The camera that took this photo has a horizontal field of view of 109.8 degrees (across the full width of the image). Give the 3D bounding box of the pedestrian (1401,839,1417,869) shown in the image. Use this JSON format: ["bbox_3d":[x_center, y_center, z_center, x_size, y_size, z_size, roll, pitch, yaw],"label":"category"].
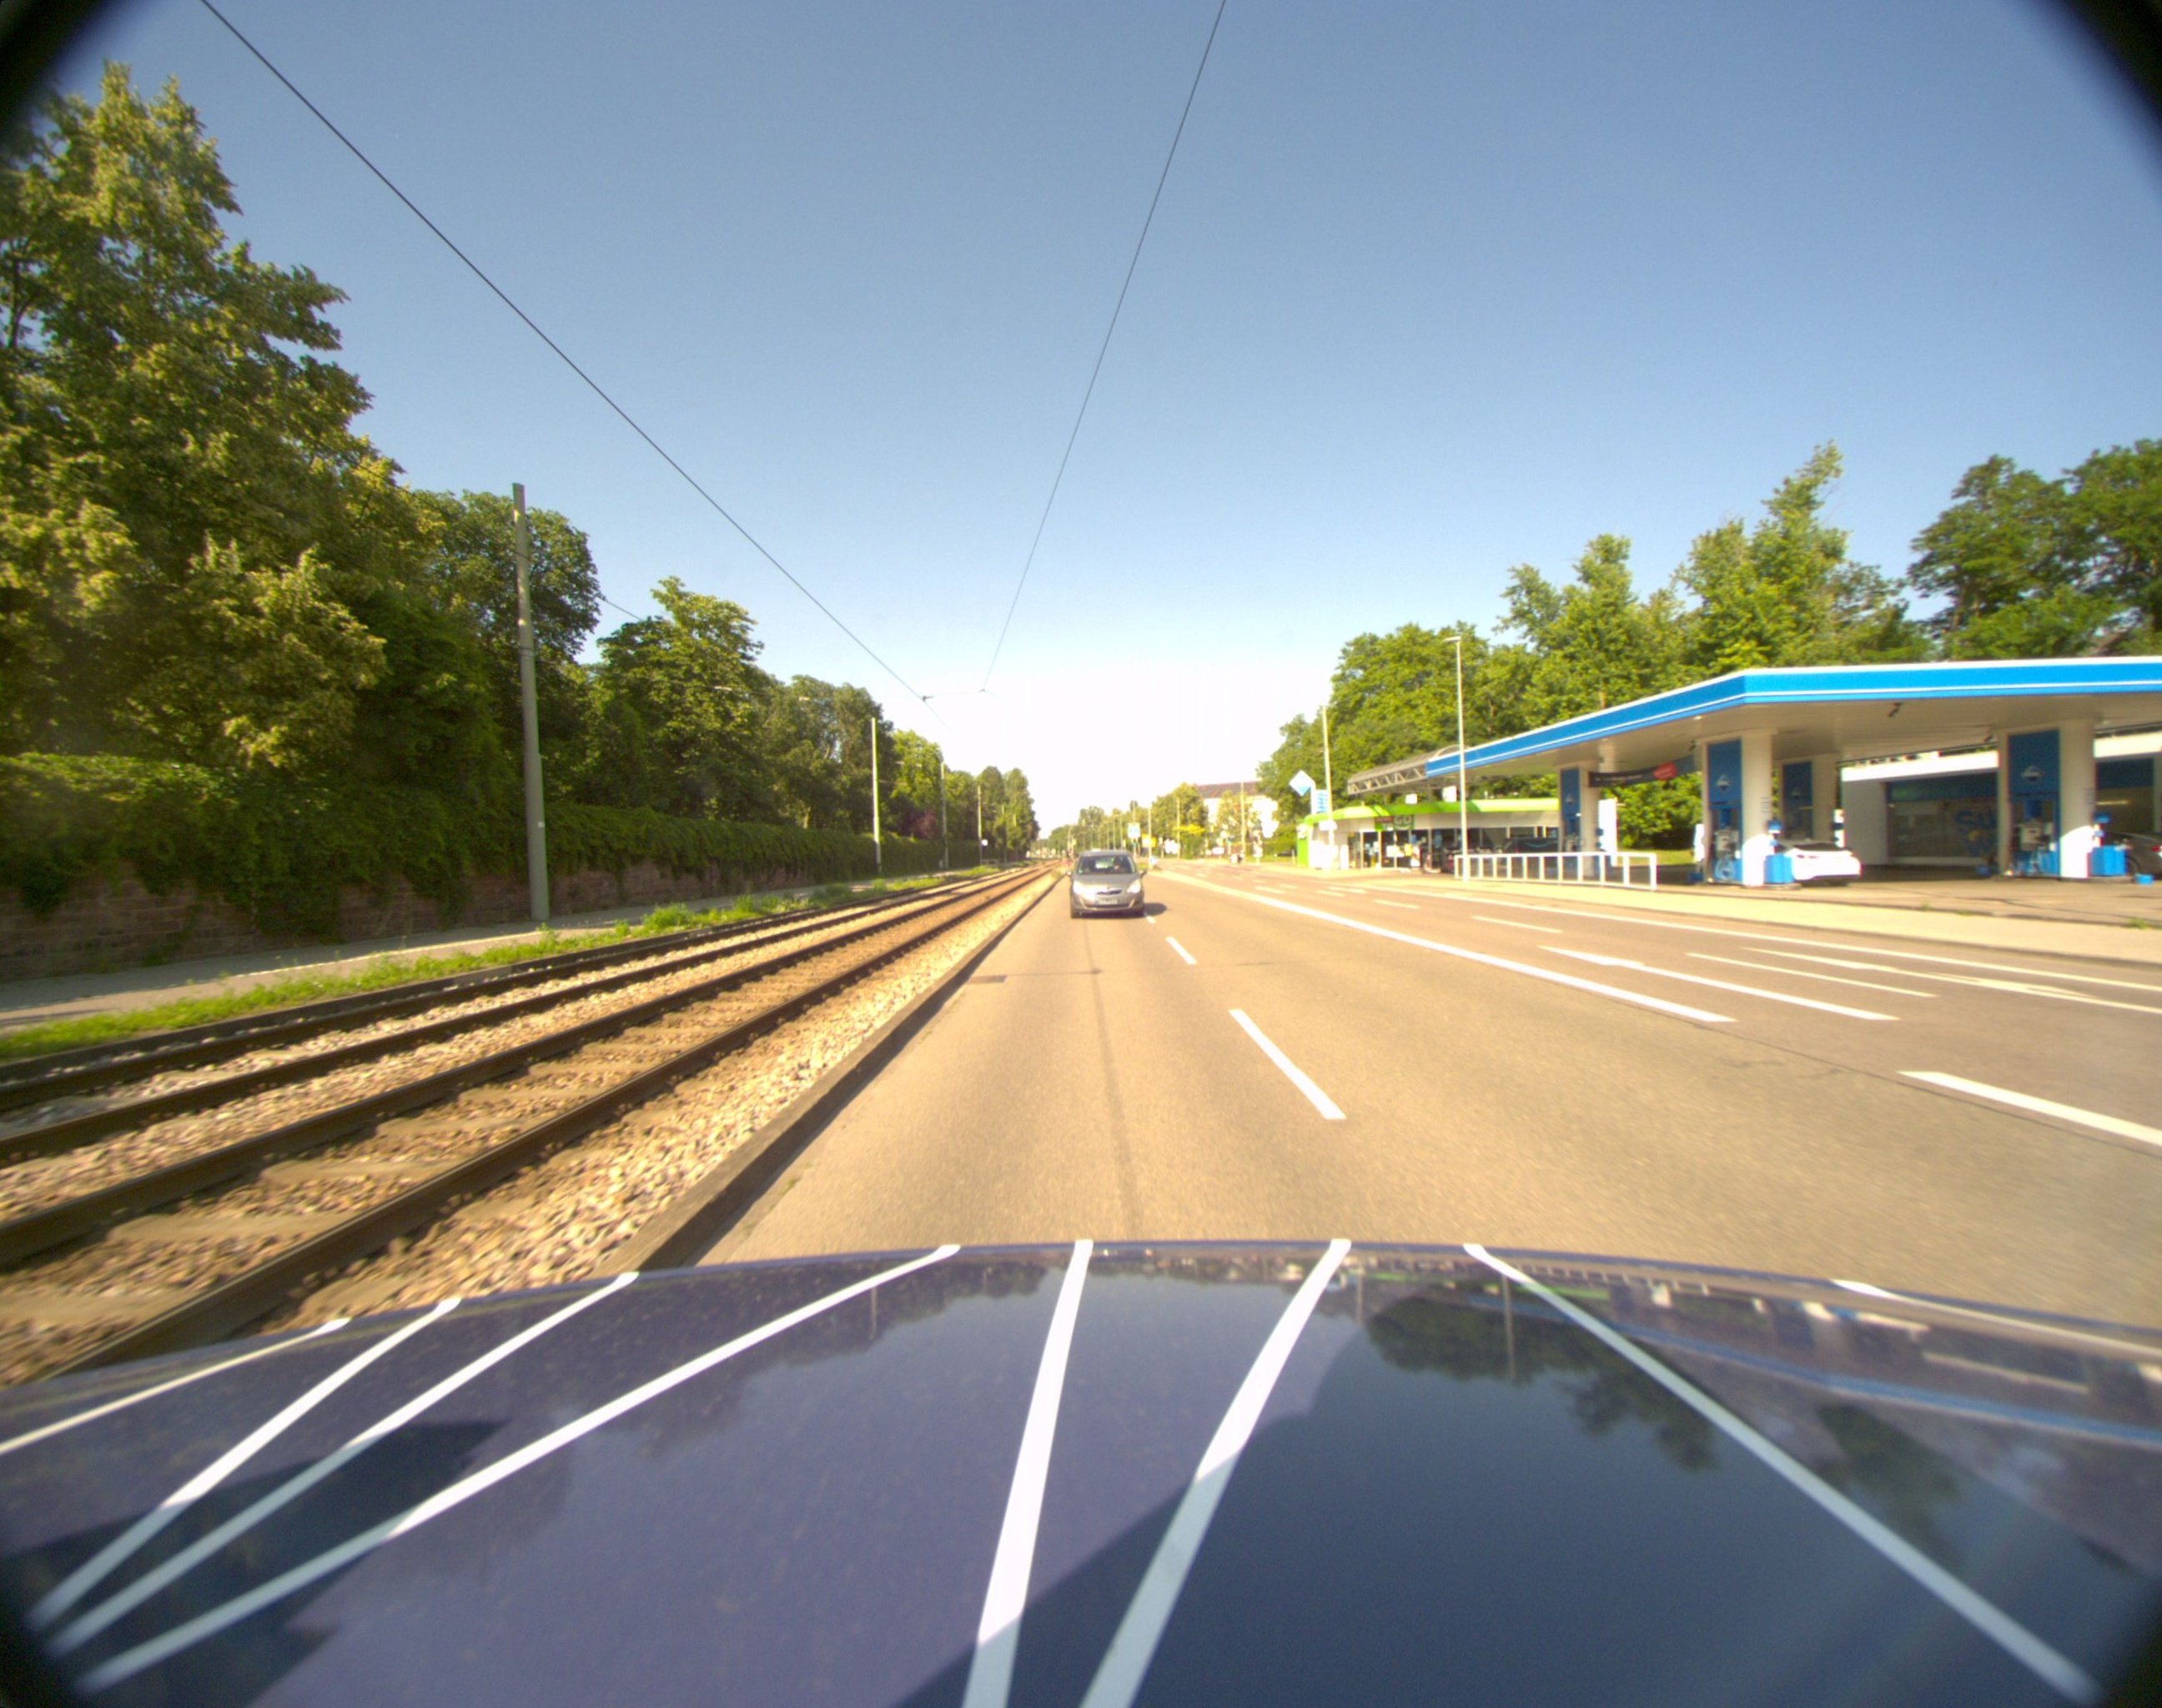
[{"bbox_3d":[19.096,0.019,44.253,0.605,1.721,0.662,-1,1,-11],"label":"pedestrian"}]

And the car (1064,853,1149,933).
[{"bbox_3d":[0.544,0.796,17.386,1.730,1.574,3.763,-1,1,1],"label":"car"}]

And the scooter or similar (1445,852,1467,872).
[{"bbox_3d":[20.767,0.439,42.098,1.031,1.103,0.350,-1,1,8],"label":"scooter or similar"}]

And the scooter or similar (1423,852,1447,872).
[{"bbox_3d":[19.649,0.452,42.205,1.143,1.110,0.350,-1,1,10],"label":"scooter or similar"}]

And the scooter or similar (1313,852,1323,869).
[{"bbox_3d":[16.713,0.456,53.648,0.350,1.154,1.144,-1,0,2],"label":"scooter or similar"}]

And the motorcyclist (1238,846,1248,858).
[{"bbox_3d":[18.048,-0.207,84.643,0.732,1.380,0.866,-1,1,34],"label":"motorcyclist"}]

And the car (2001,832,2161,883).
[{"bbox_3d":[31.391,0.064,23.252,1.740,1.437,4.001,-1,0,3],"label":"car"}]

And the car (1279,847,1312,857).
[{"bbox_3d":[30.147,-0.288,106.773,4.196,1.434,1.690,-1,0,3],"label":"car"}]

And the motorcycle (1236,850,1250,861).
[{"bbox_3d":[18.058,0.171,84.655,0.732,1.221,2.268,-1,1,34],"label":"motorcycle"}]

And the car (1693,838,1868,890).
[{"bbox_3d":[22.081,0.284,24.262,1.741,1.482,4.274,-1,0,1],"label":"car"}]

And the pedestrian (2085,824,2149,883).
[{"bbox_3d":[30.498,-0.014,22.381,0.818,1.680,0.795,-1,1,0],"label":"pedestrian"}]

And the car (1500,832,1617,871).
[{"bbox_3d":[25.819,-0.131,41.200,5.081,1.929,1.858,-1,0,5],"label":"car"}]
